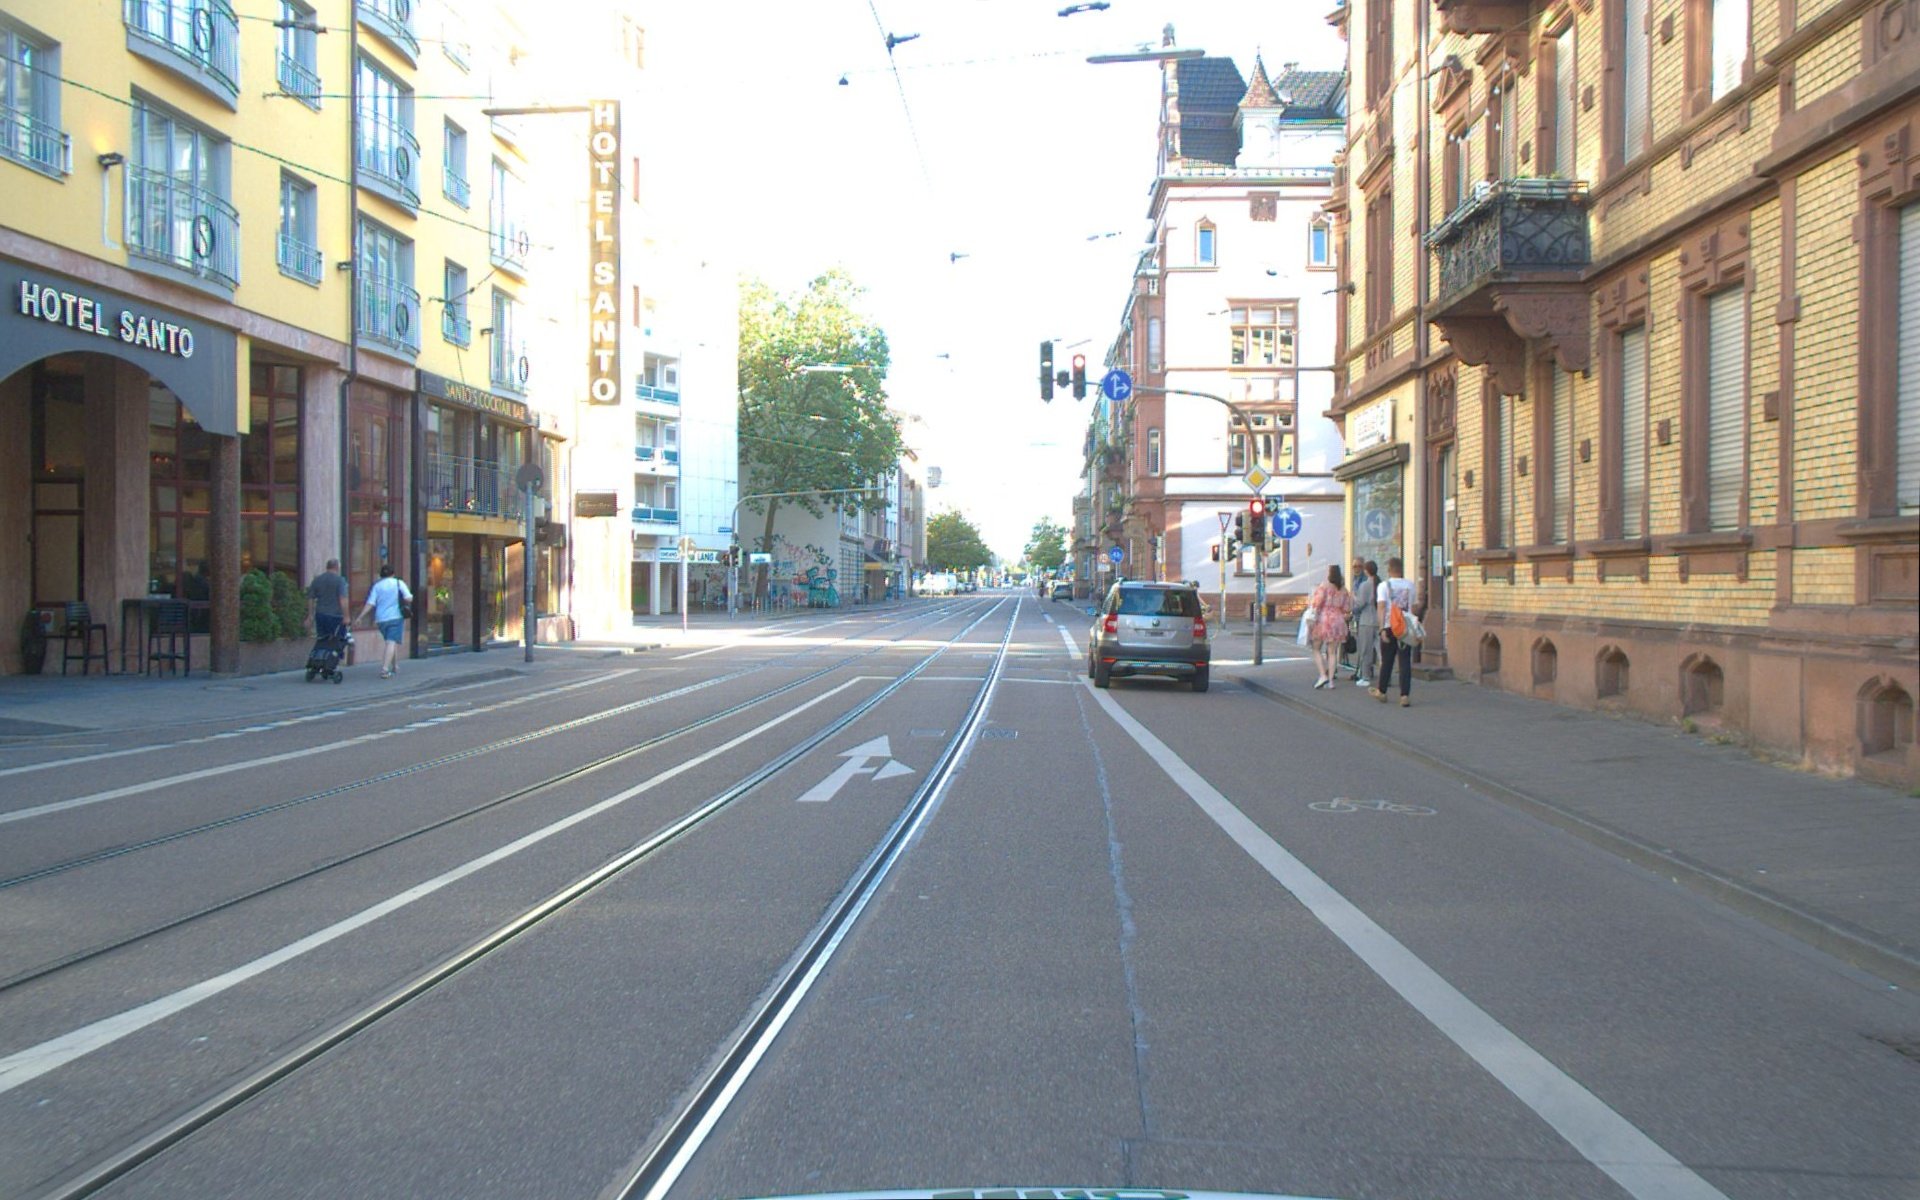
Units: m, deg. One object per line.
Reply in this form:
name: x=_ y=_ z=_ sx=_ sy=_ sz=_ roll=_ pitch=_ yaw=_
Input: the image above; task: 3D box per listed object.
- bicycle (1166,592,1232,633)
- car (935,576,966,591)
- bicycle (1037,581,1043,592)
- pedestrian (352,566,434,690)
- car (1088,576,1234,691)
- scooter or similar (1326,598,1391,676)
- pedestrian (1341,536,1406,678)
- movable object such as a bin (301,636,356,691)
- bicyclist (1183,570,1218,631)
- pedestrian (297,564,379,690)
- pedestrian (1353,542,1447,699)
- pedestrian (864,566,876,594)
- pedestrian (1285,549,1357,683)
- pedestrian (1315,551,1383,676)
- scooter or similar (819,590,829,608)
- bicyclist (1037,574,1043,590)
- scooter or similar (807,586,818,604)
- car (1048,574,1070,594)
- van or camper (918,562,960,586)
bicycle: x=6.728 y=0.348 z=46.519 sx=1.681 sy=1.052 sz=0.598 roll=3 pitch=-1 yaw=28
car: x=-1.383 y=-2.341 z=235.248 sx=3.932 sy=2.049 sz=1.986 roll=1 pitch=0 yaw=-23
bicycle: x=7.832 y=-1.294 z=161.683 sx=0.563 sy=1.048 sz=1.896 roll=1 pitch=0 yaw=3
pedestrian: x=-8.923 y=0.423 z=26.064 sx=0.736 sy=1.849 sz=1.046 roll=5 pitch=1 yaw=2
car: x=3.119 y=0.480 z=26.399 sx=1.952 sy=1.646 sz=4.001 roll=1 pitch=0 yaw=2
scooter or similar: x=5.871 y=0.539 z=24.396 sx=0.788 sy=1.089 sz=0.521 roll=-3 pitch=0 yaw=2
pedestrian: x=5.841 y=0.096 z=23.384 sx=0.676 sy=1.942 sz=0.670 roll=-3 pitch=1 yaw=1
movable object such as a bin: x=-9.257 y=0.921 z=24.256 sx=0.375 sy=0.728 sz=0.841 roll=6 pitch=1 yaw=4
bicyclist: x=6.736 y=0.007 z=46.383 sx=0.726 sy=1.662 sz=0.607 roll=3 pitch=-1 yaw=28
pedestrian: x=-9.409 y=0.394 z=25.040 sx=0.781 sy=1.801 sz=0.750 roll=6 pitch=1 yaw=2
pedestrian: x=5.356 y=0.238 z=20.201 sx=0.789 sy=1.831 sz=1.092 roll=-3 pitch=1 yaw=1
pedestrian: x=-5.832 y=-1.280 z=106.779 sx=0.686 sy=1.758 sz=0.648 roll=1 pitch=0 yaw=2
pedestrian: x=5.122 y=0.223 z=23.503 sx=0.789 sy=1.831 sz=0.762 roll=-3 pitch=1 yaw=1
pedestrian: x=5.882 y=0.196 z=25.040 sx=0.788 sy=1.831 sz=0.762 roll=-3 pitch=1 yaw=2
scooter or similar: x=-8.250 y=-0.090 z=100.387 sx=0.506 sy=1.076 sz=1.478 roll=1 pitch=0 yaw=0
bicyclist: x=7.822 y=-1.735 z=161.439 sx=0.563 sy=1.581 sz=0.595 roll=1 pitch=0 yaw=3
scooter or similar: x=-8.923 y=-0.297 z=100.377 sx=0.506 sy=1.064 sz=1.478 roll=1 pitch=0 yaw=0
car: x=8.917 y=-1.419 z=148.685 sx=1.909 sy=1.713 sz=4.002 roll=1 pitch=0 yaw=3
van or camper: x=-2.508 y=-3.127 z=199.391 sx=4.583 sy=2.608 sz=1.981 roll=2 pitch=0 yaw=-29
